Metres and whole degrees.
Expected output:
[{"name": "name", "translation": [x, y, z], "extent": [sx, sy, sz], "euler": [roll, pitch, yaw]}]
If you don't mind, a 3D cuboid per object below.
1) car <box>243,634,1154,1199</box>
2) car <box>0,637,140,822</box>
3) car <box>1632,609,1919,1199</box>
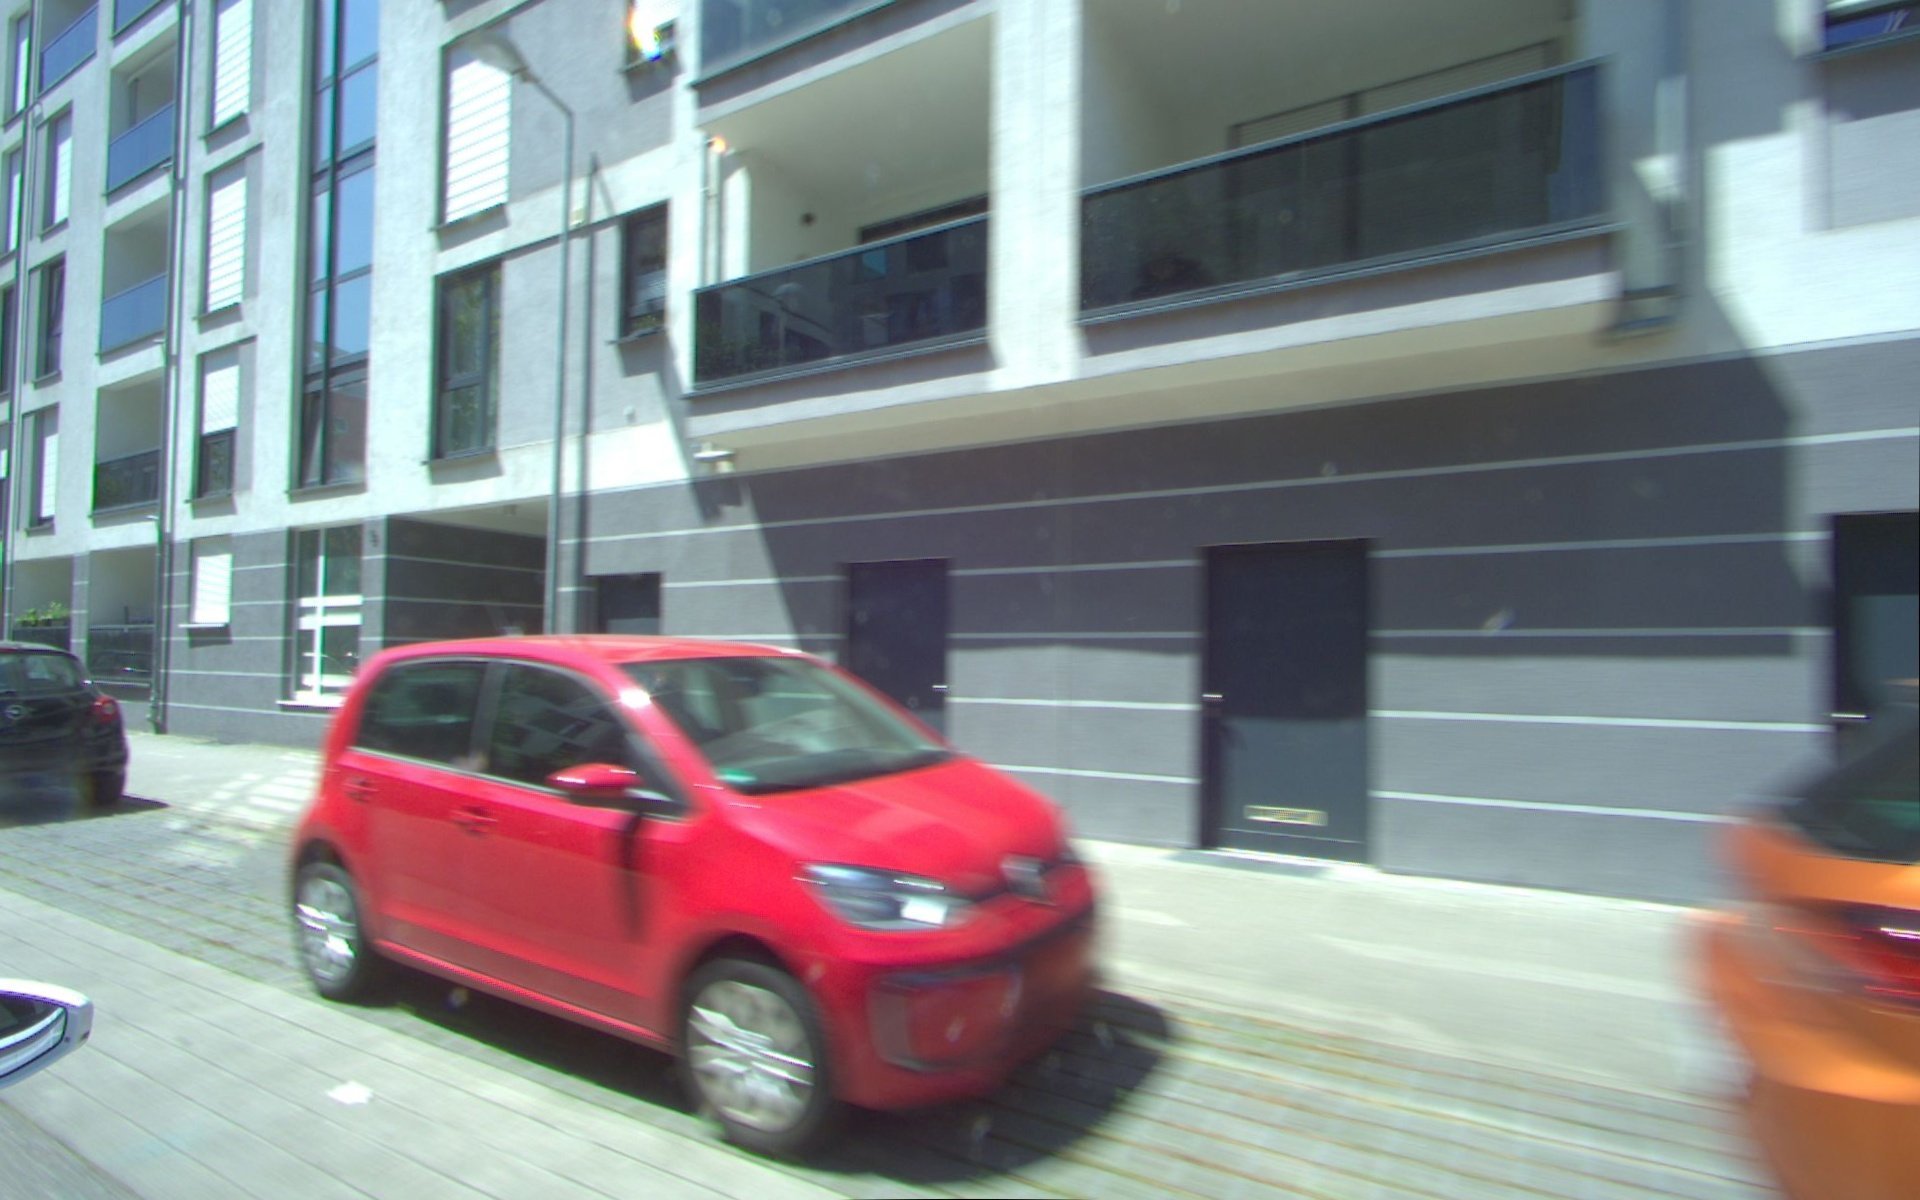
[{"name": "car", "translation": [-1.206, 0.897, 4.119], "extent": [3.623, 1.505, 1.593], "euler": [-1, -2, 32]}, {"name": "car", "translation": [-9.390, 1.086, 9.190], "extent": [4.058, 1.481, 1.640], "euler": [-1, -2, 31]}, {"name": "car", "translation": [3.527, 0.759, 1.404], "extent": [4.197, 1.505, 1.735], "euler": [-1, -2, 32]}]
